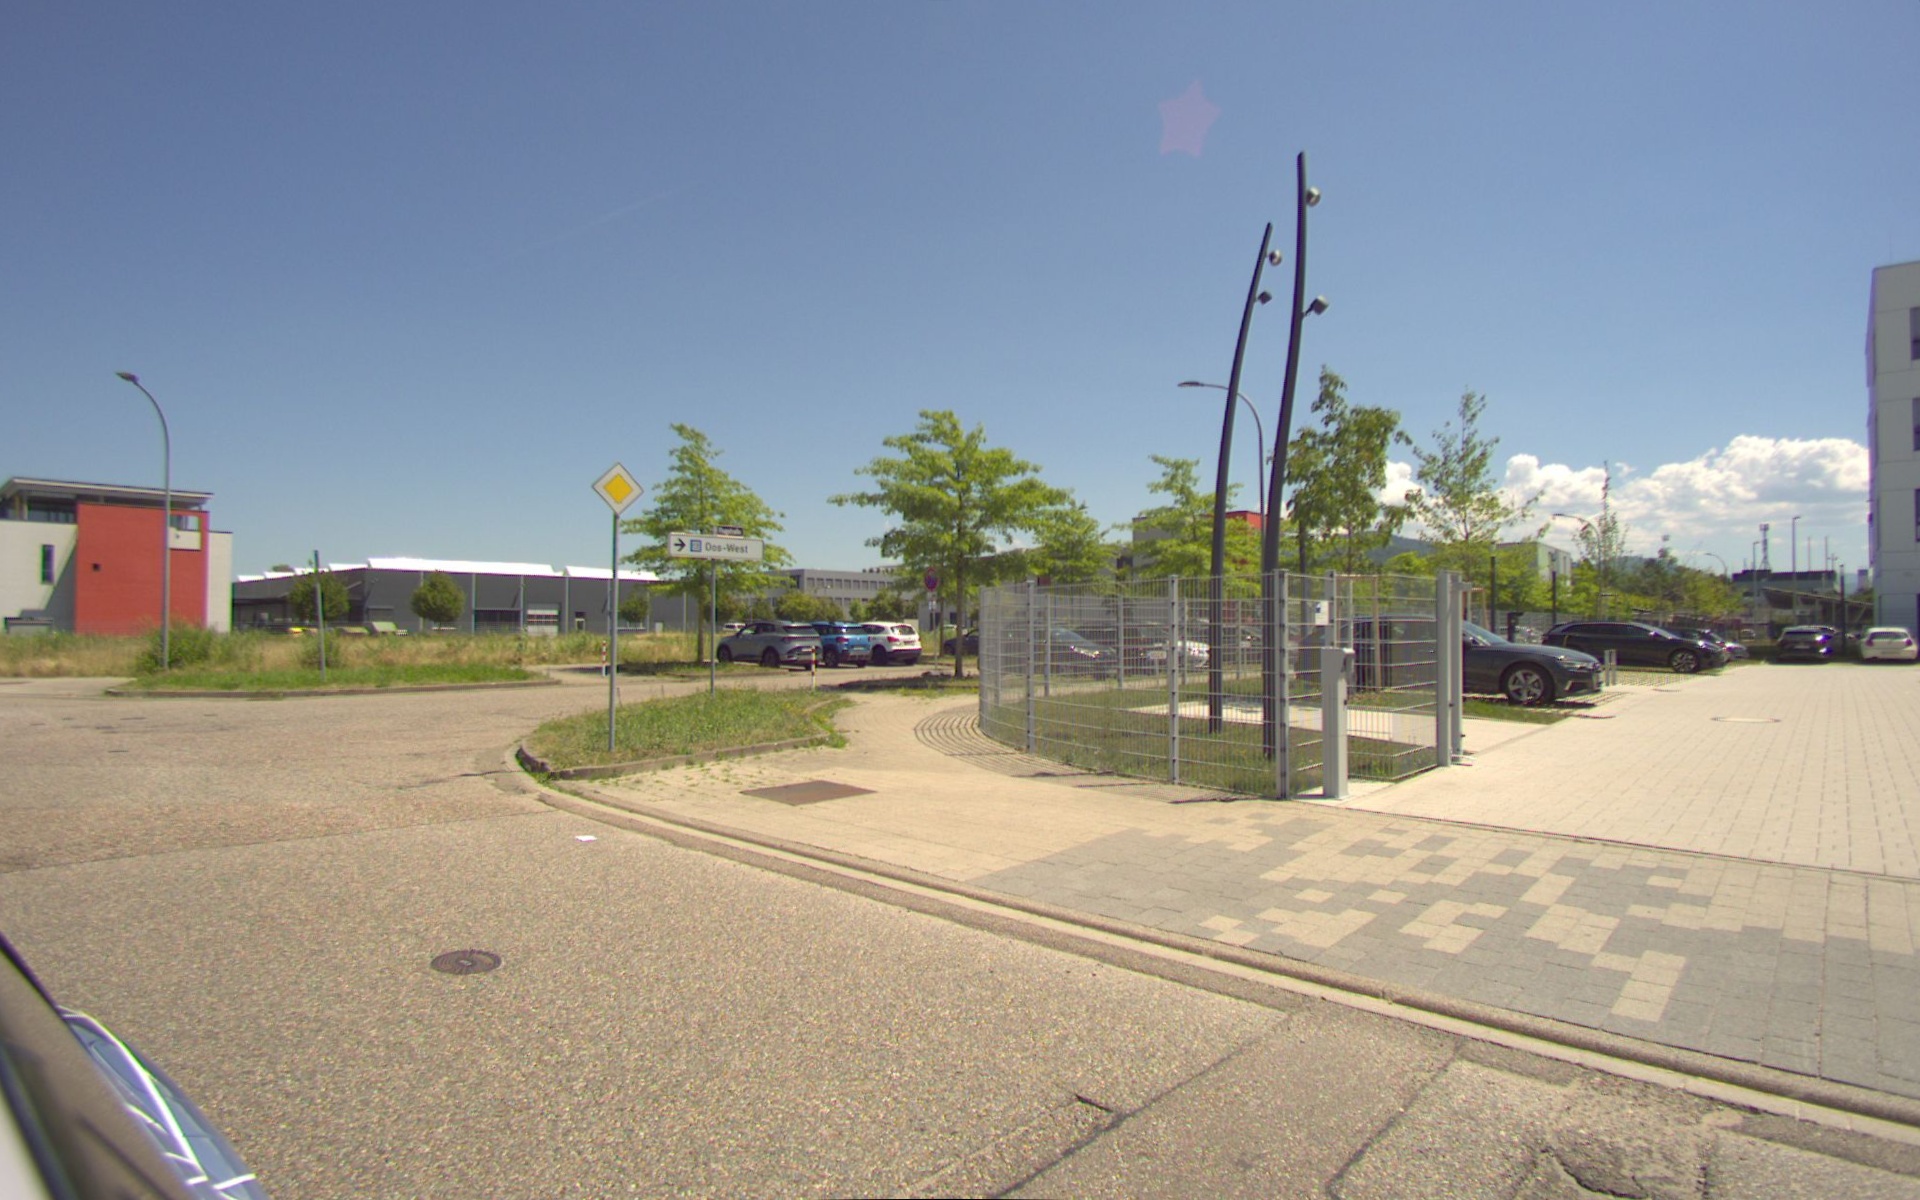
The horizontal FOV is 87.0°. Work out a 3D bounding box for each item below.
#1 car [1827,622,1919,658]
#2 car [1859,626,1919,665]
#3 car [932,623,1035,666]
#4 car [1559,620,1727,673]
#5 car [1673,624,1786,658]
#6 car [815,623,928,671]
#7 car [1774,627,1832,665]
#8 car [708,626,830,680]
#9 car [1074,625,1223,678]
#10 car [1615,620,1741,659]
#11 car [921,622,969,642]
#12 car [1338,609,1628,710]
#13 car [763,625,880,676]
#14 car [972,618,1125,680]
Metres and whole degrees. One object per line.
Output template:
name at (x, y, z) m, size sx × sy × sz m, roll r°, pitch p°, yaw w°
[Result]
car at (40.100, 1.732, 43.613) m, size 4.103 × 1.523 × 1.752 m, roll -2°, pitch -3°, yaw 41°
car at (37.653, 1.822, 40.909) m, size 1.775 × 1.523 × 4.050 m, roll -2°, pitch -3°, yaw 40°
car at (0.980, 1.876, 43.427) m, size 4.204 × 1.710 × 1.930 m, roll -2°, pitch -2°, yaw 43°
car at (21.108, 1.430, 31.359) m, size 4.103 × 1.523 × 1.752 m, roll -2°, pitch -3°, yaw 41°
car at (35.869, 1.916, 47.225) m, size 4.103 × 1.523 × 1.752 m, roll -2°, pitch -3°, yaw 41°
car at (-3.421, 1.764, 38.504) m, size 4.309 × 1.710 × 1.930 m, roll -2°, pitch -2°, yaw 43°
car at (35.454, 1.909, 42.568) m, size 1.775 × 1.523 × 4.050 m, roll -2°, pitch -3°, yaw 40°
car at (-6.556, 1.757, 34.476) m, size 4.309 × 1.710 × 1.930 m, roll -2°, pitch -2°, yaw 43°
car at (5.567, 1.557, 30.203) m, size 4.114 × 1.487 × 1.589 m, roll -4°, pitch -4°, yaw 42°
car at (29.677, 1.630, 41.903) m, size 4.103 × 1.523 × 1.752 m, roll -2°, pitch -3°, yaw 41°
car at (-1.360, 2.889, 90.999) m, size 3.997 × 1.763 × 1.973 m, roll -2°, pitch -3°, yaw 41°
car at (8.847, 0.983, 17.308) m, size 4.103 × 1.523 × 1.752 m, roll -2°, pitch -3°, yaw 41°
car at (-5.088, 1.802, 36.791) m, size 4.309 × 1.710 × 1.930 m, roll -2°, pitch -2°, yaw 43°
car at (2.256, 1.296, 26.401) m, size 3.799 × 1.487 × 1.588 m, roll -4°, pitch -4°, yaw 44°
